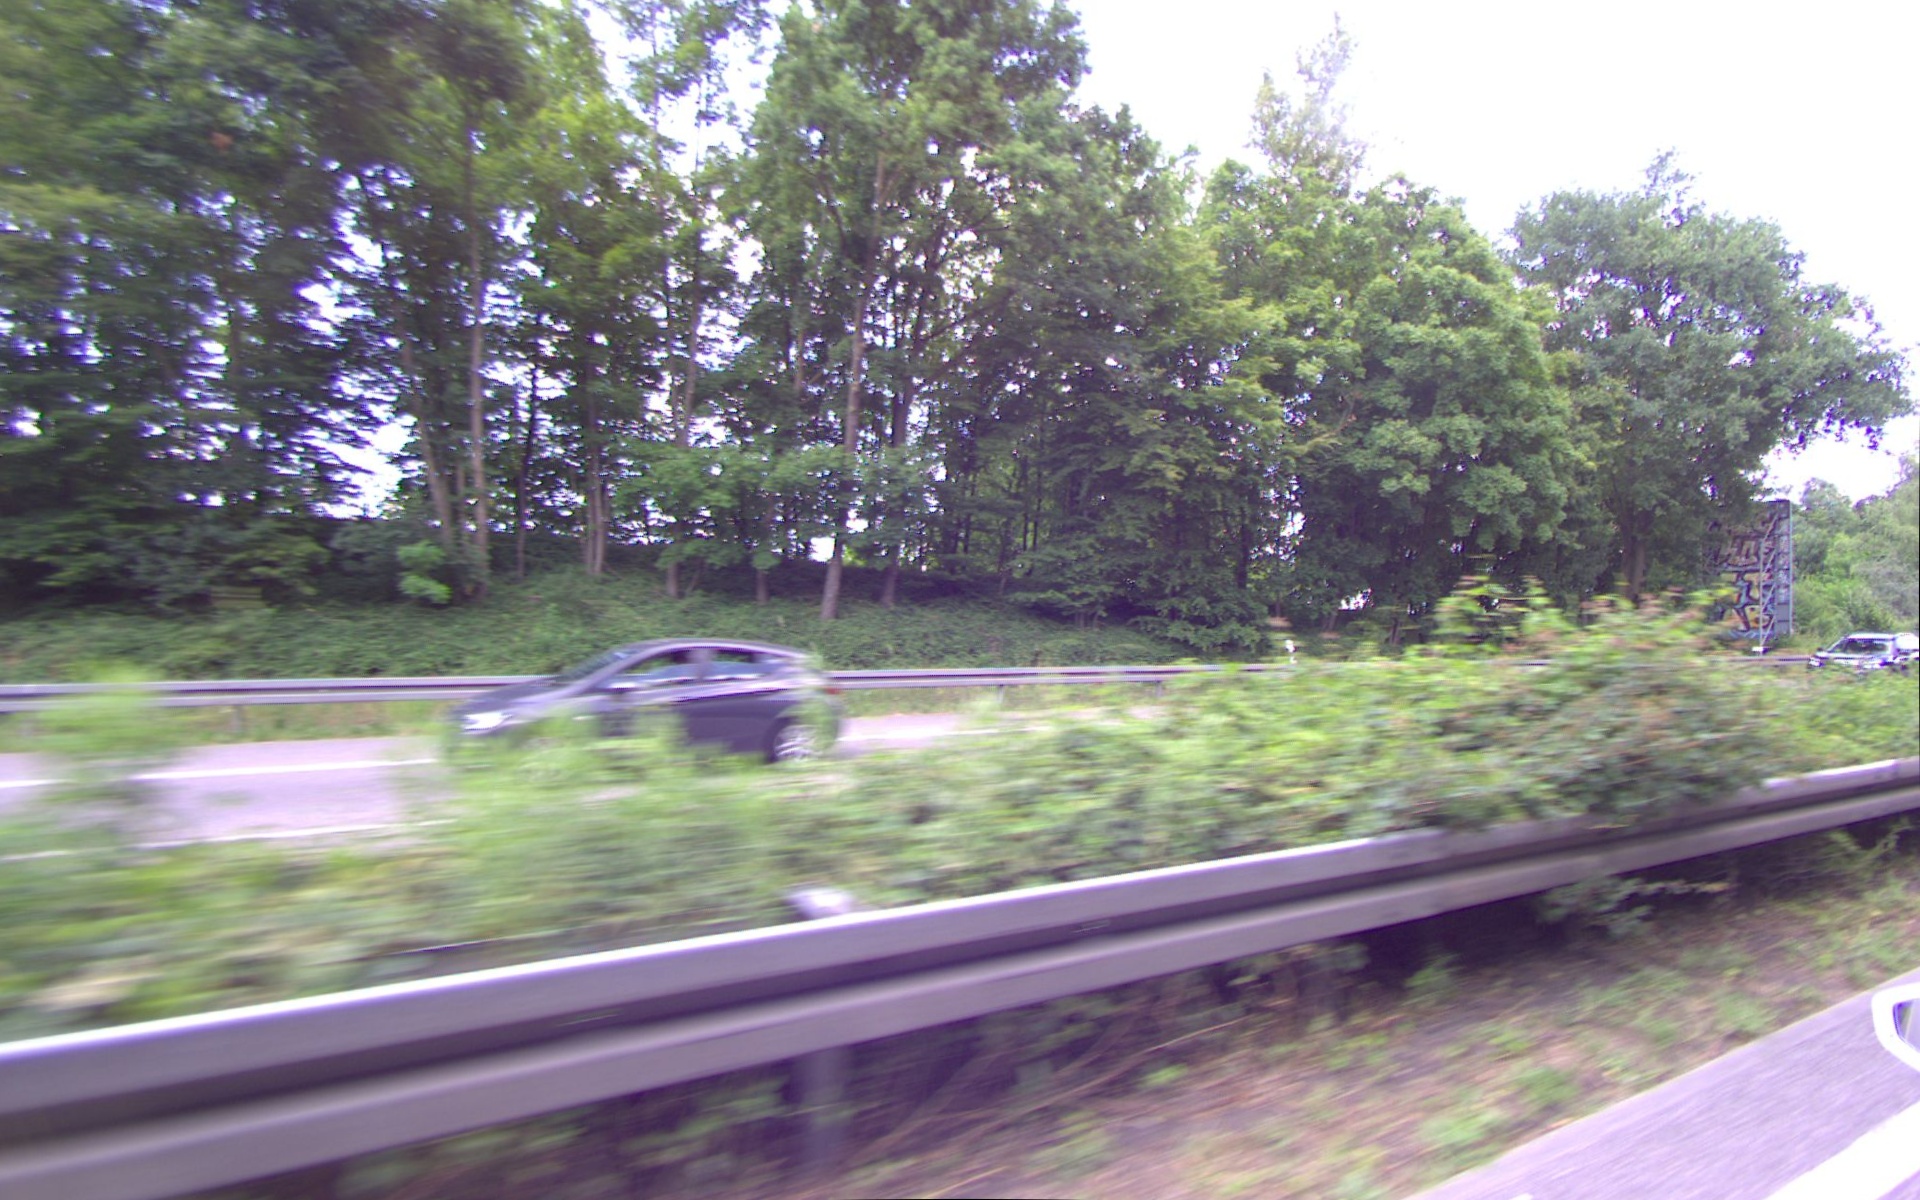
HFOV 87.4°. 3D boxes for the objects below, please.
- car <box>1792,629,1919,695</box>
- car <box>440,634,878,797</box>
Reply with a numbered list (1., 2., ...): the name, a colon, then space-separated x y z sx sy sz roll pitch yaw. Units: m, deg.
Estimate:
1. car: 25.970 1.723 28.798 4.541 1.683 1.819 1 0 -30
2. car: -3.280 1.137 11.211 4.417 1.492 1.726 1 -1 -30
